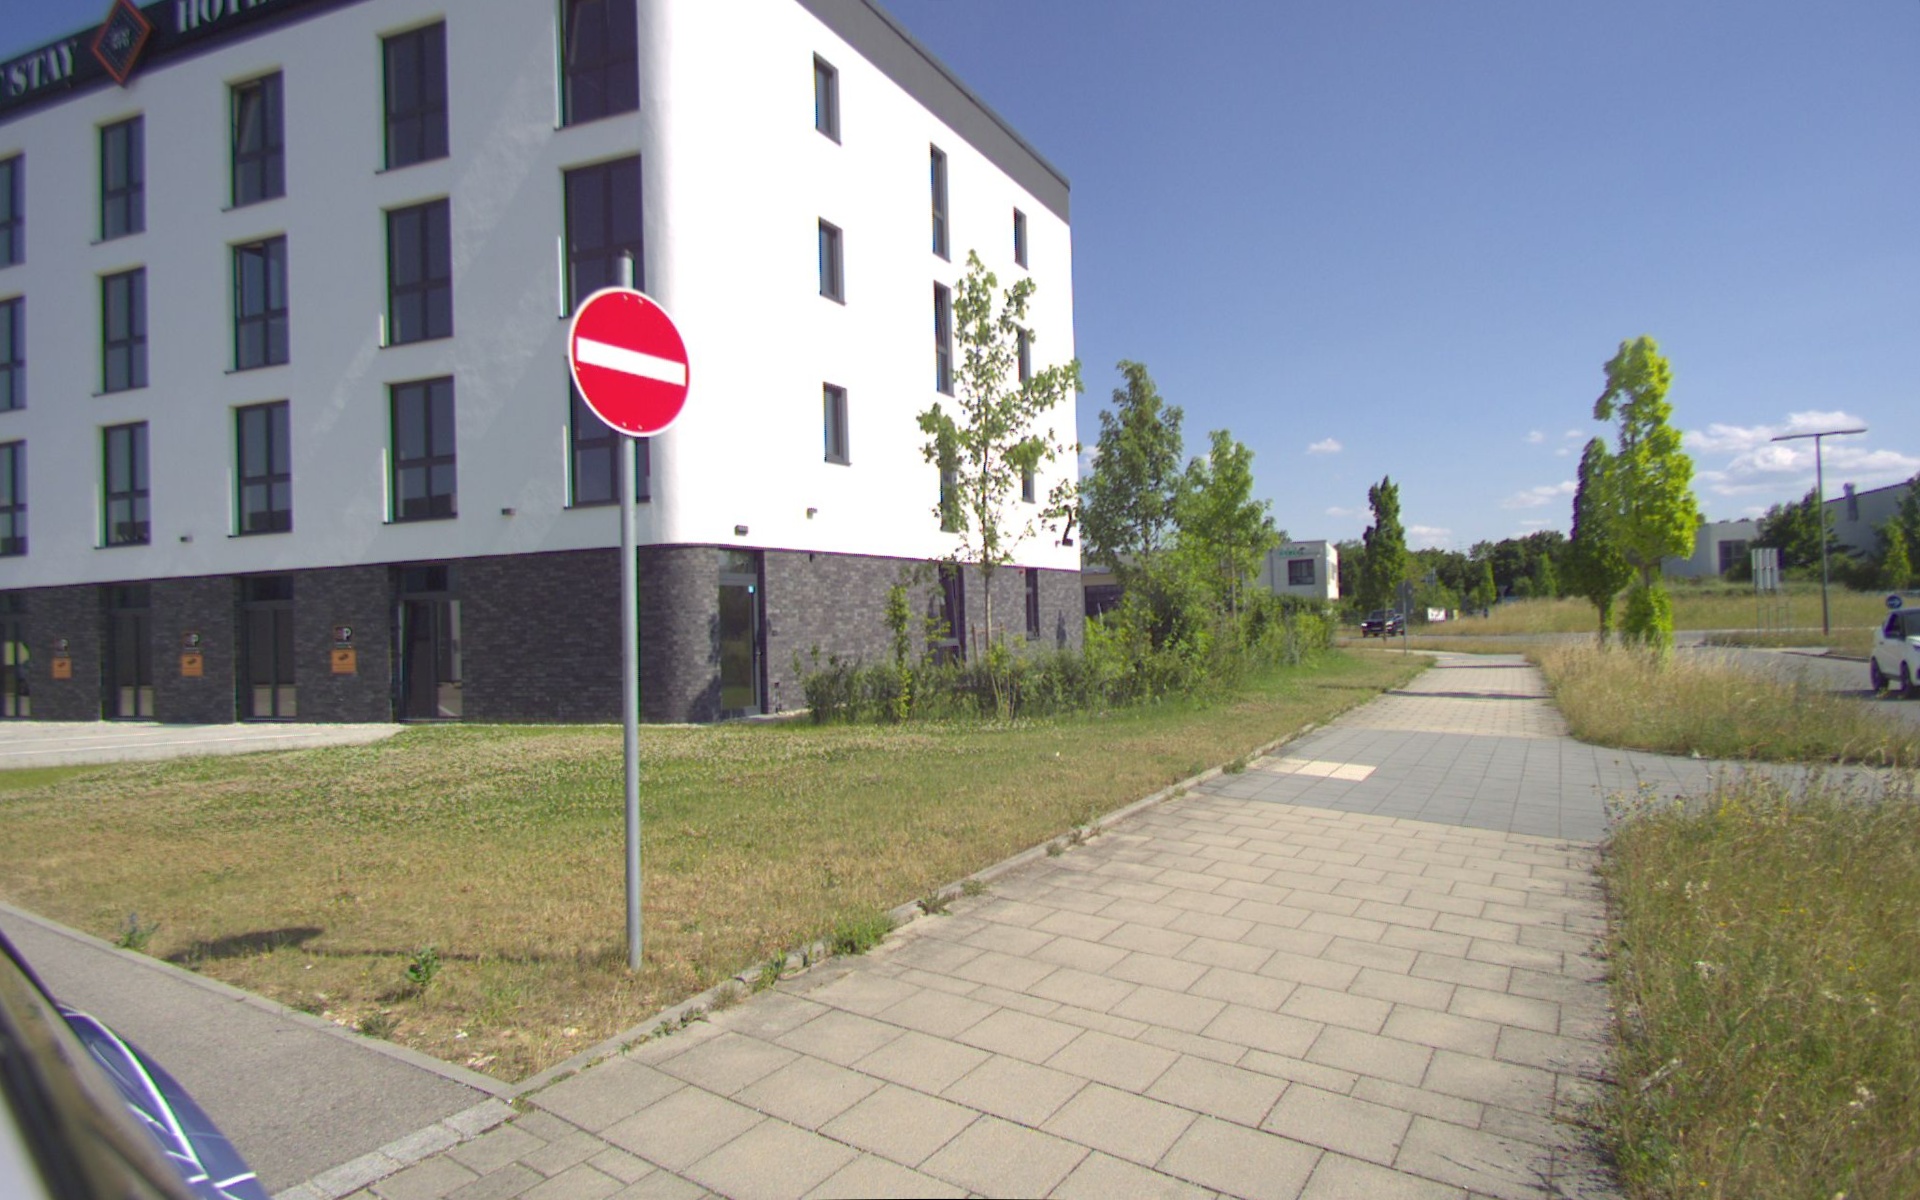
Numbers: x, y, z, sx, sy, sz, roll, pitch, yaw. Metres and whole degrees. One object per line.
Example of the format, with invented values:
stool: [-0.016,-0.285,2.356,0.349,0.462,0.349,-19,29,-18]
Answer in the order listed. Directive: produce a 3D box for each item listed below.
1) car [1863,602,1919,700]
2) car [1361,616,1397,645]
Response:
car: [16.359,0.789,16.699,1.473,1.501,2.970,-4,-2,30]
car: [25.412,1.839,61.299,1.831,1.586,3.968,-4,-2,23]
